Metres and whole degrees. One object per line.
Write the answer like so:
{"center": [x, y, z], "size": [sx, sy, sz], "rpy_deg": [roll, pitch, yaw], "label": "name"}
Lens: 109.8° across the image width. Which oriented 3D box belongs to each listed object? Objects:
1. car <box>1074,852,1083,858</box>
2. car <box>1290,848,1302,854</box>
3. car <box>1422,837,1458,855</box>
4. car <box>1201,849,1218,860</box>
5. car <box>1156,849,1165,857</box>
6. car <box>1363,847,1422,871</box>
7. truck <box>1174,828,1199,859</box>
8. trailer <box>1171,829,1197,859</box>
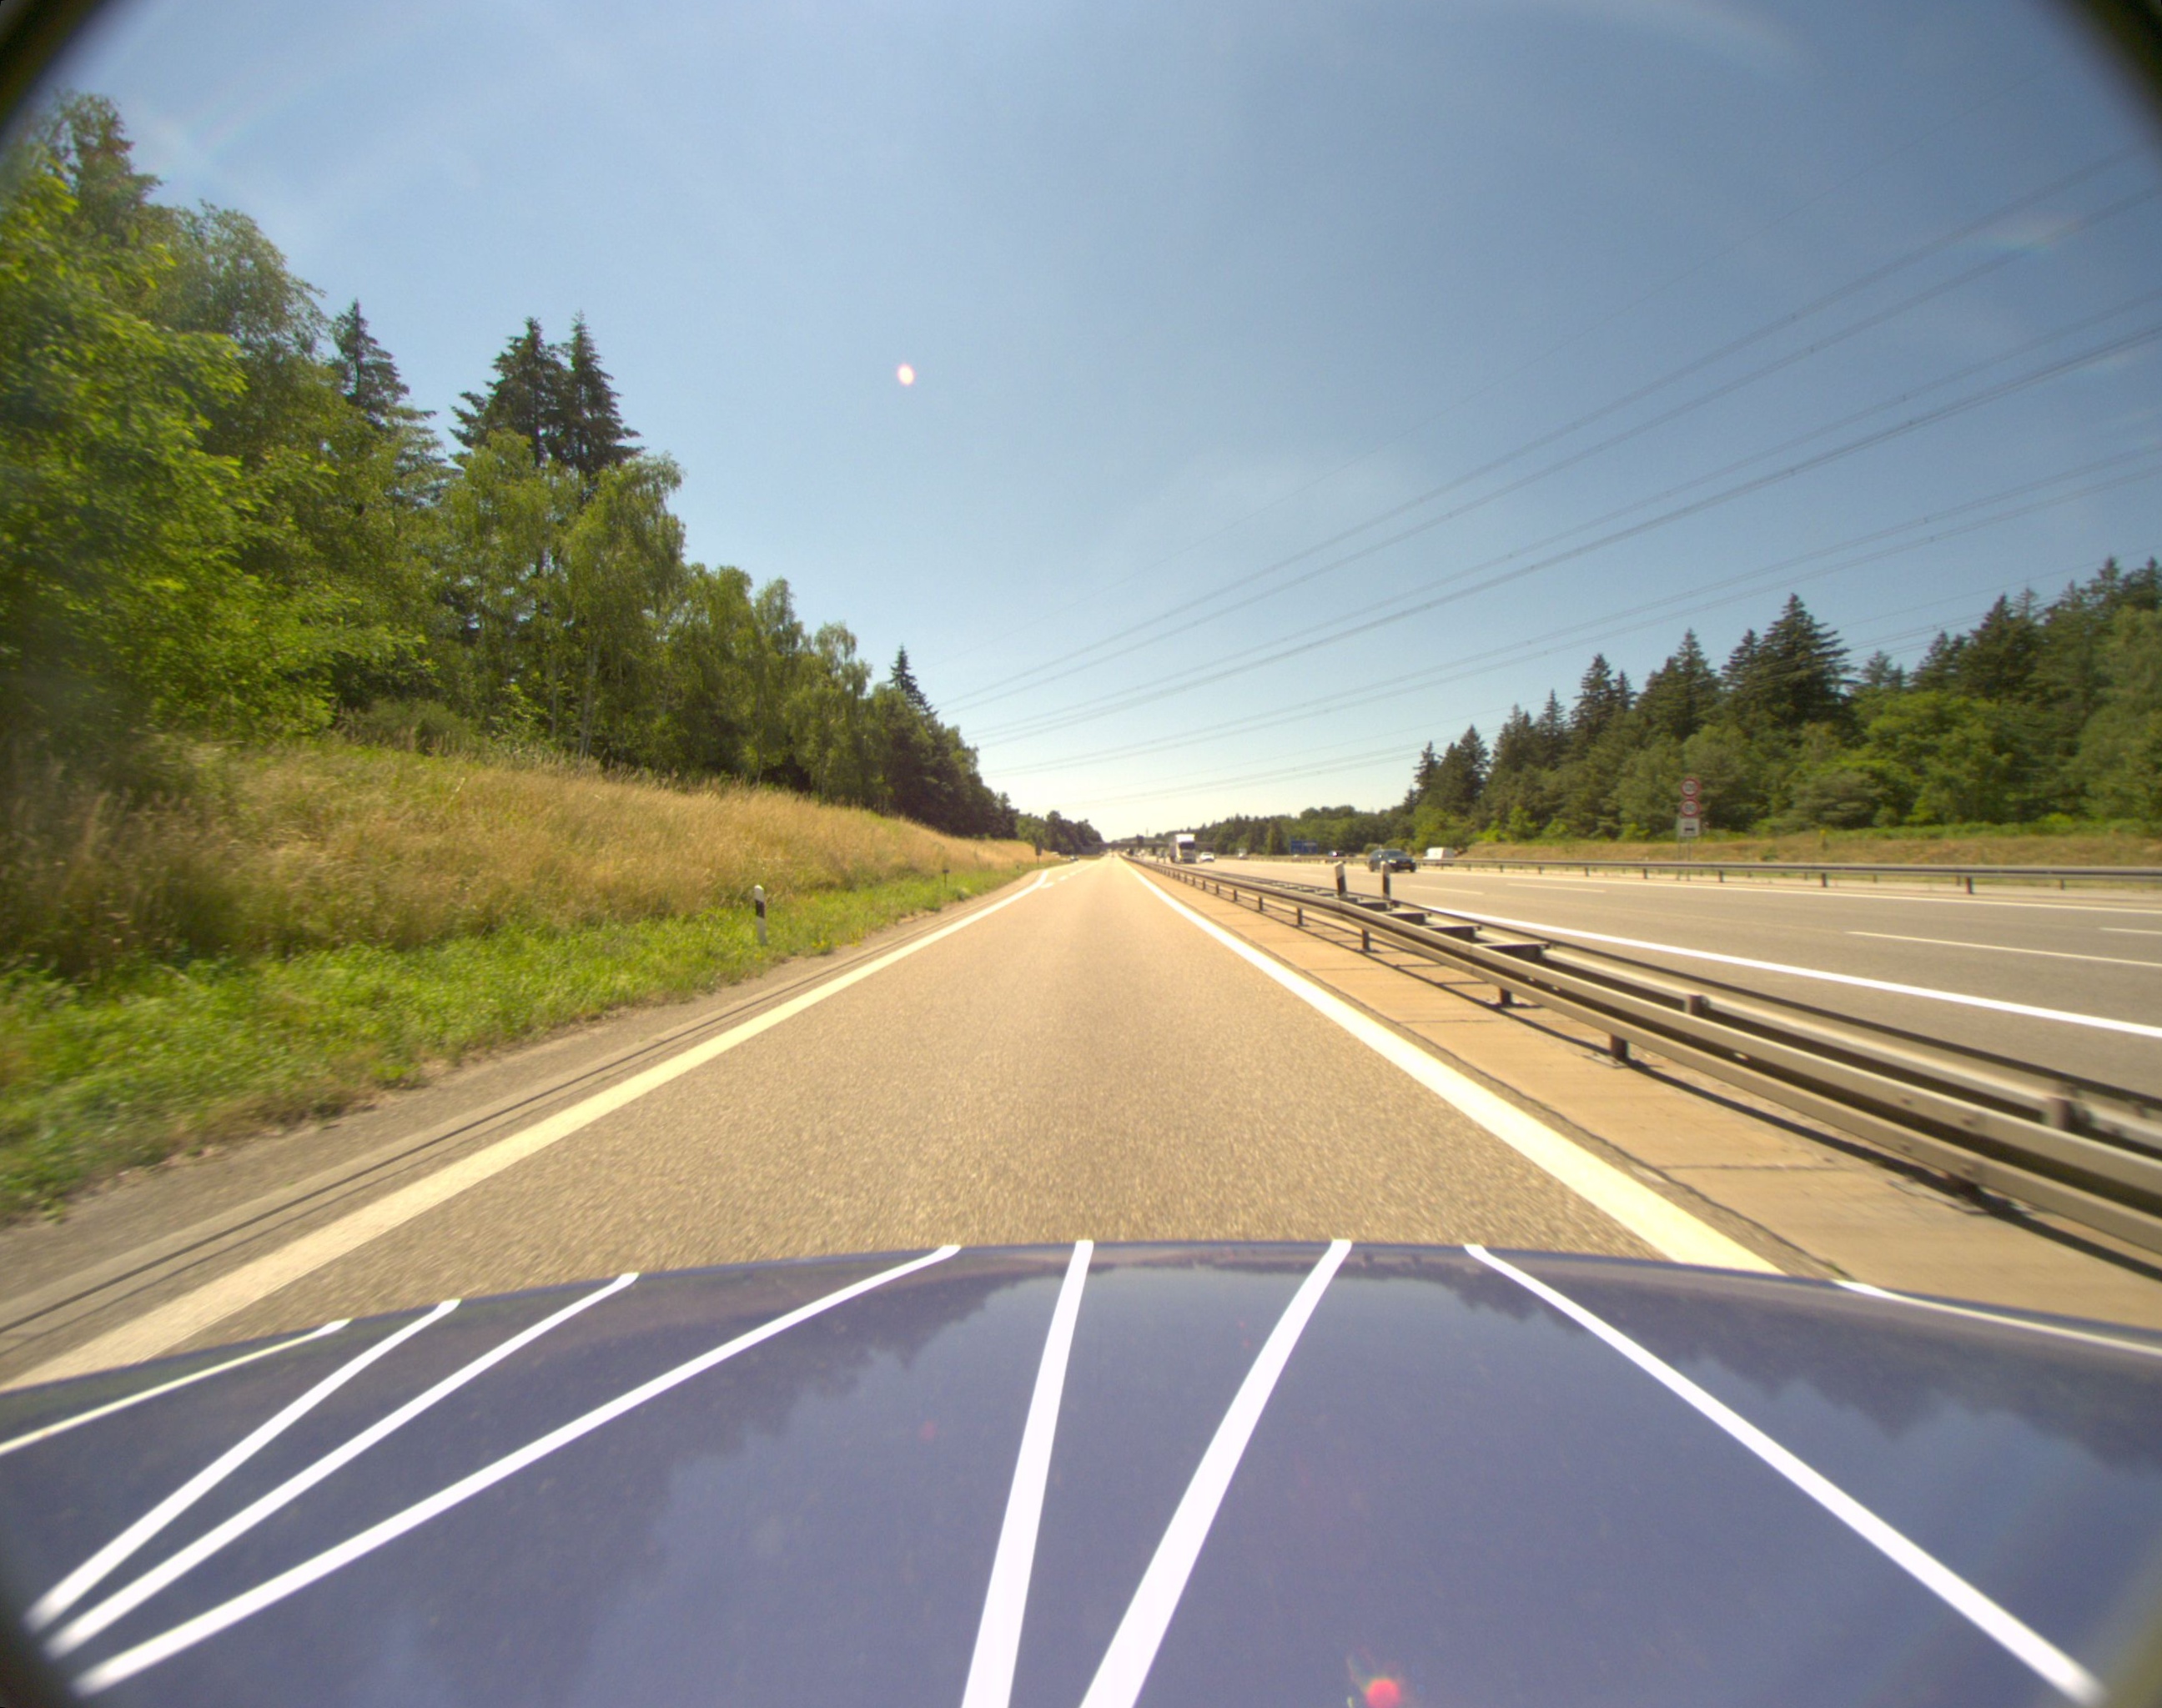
{"center": [-0.658, 0.234, 194.015], "size": [1.898, 1.417, 4.262], "rpy_deg": [-2, 0, 5], "label": "car"}
{"center": [53.296, -0.804, 188.758], "size": [1.924, 1.548, 4.000], "rpy_deg": [-1, 0, 1], "label": "car"}
{"center": [51.188, -1.059, 108.559], "size": [2.310, 2.500, 6.458], "rpy_deg": [-1, 0, 3], "label": "car"}
{"center": [19.796, 0.088, 117.447], "size": [1.968, 1.495, 5.405], "rpy_deg": [-1, 1, 3], "label": "car"}
{"center": [23.405, -0.308, 222.595], "size": [2.315, 2.021, 5.405], "rpy_deg": [-1, 1, 3], "label": "car"}
{"center": [19.603, 0.296, 48.014], "size": [1.836, 1.423, 5.000], "rpy_deg": [-1, 0, 3], "label": "car"}
{"center": [14.485, -1.390, 104.681], "size": [2.979, 4.118, 5.350], "rpy_deg": [-1, 0, 5], "label": "truck"}
{"center": [14.900, -1.409, 110.193], "size": [2.981, 4.118, 11.699], "rpy_deg": [-1, 0, 4], "label": "trailer"}
